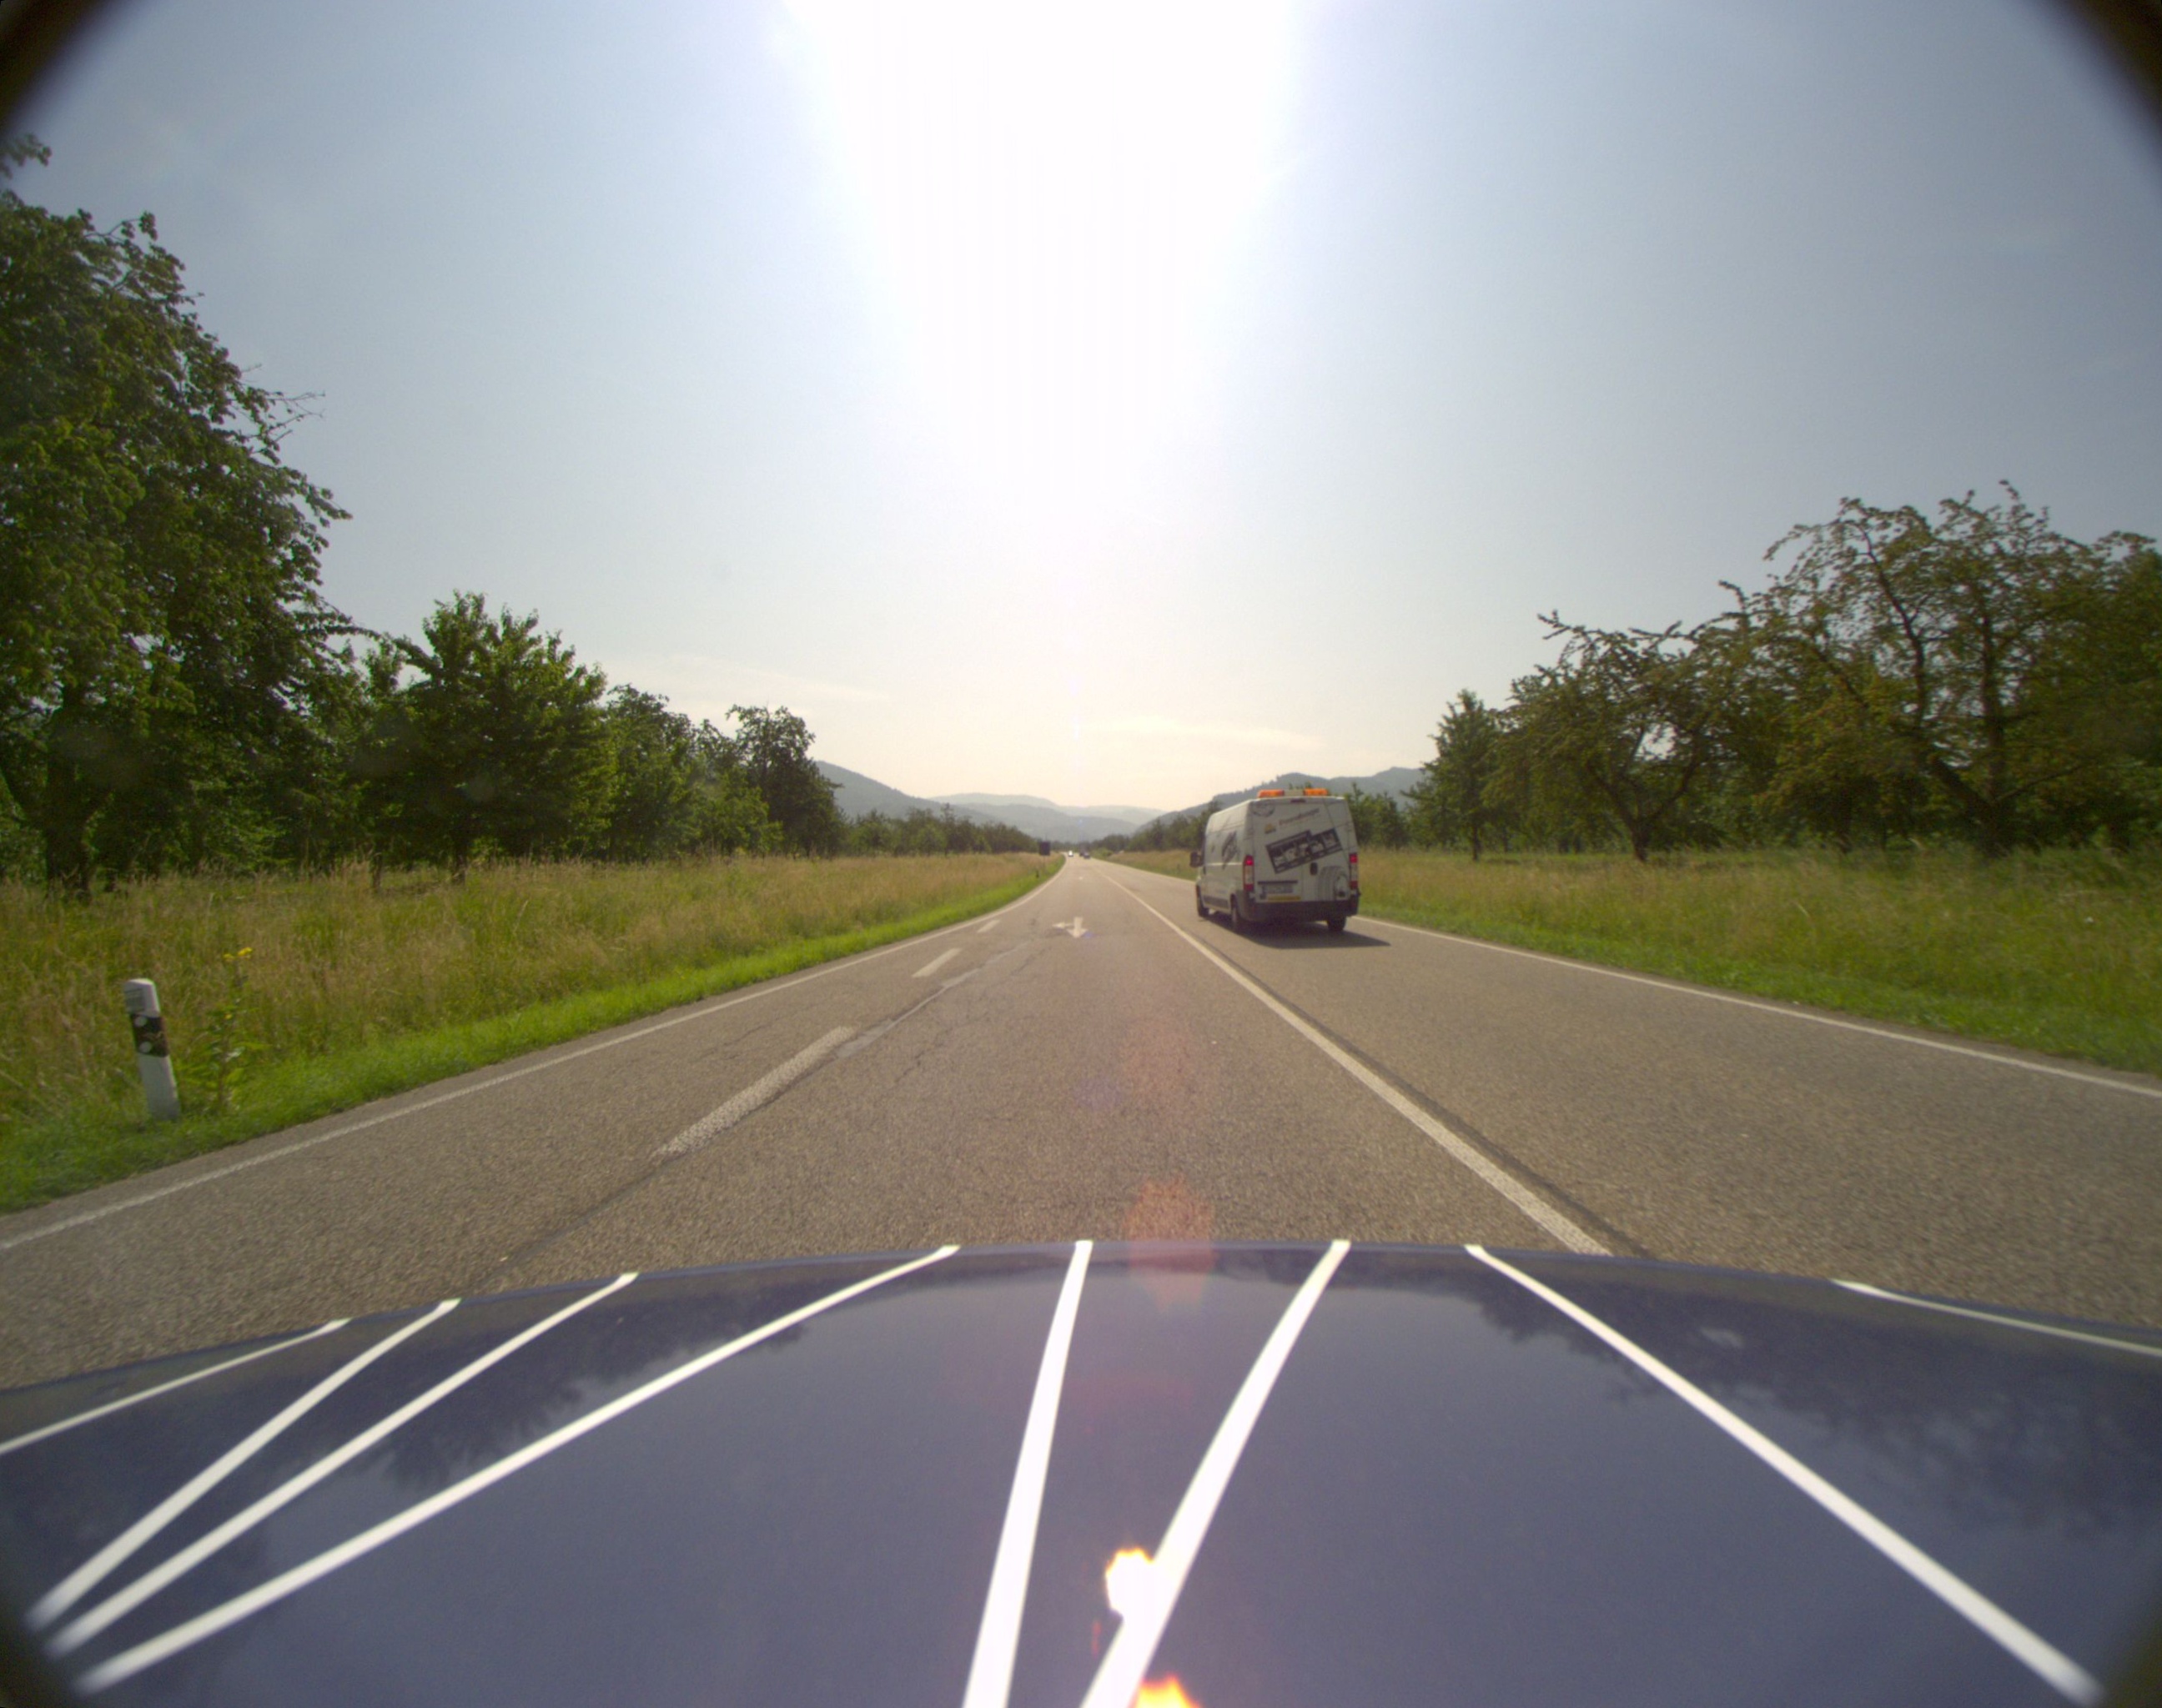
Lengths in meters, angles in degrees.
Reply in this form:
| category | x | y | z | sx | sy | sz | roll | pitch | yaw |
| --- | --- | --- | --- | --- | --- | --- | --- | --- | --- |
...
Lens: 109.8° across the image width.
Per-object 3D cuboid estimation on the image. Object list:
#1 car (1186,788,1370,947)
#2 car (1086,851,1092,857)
| category | x | y | z | sx | sy | sz | roll | pitch | yaw |
| --- | --- | --- | --- | --- | --- | --- | --- | --- | --- |
| car | 3.812 | 0.193 | 16.115 | 2.166 | 2.653 | 6.142 | -2 | 1 | -1 |
| car | 2.239 | 0.013 | 217.014 | 1.694 | 1.400 | 4.893 | -2 | 0 | -1 |
